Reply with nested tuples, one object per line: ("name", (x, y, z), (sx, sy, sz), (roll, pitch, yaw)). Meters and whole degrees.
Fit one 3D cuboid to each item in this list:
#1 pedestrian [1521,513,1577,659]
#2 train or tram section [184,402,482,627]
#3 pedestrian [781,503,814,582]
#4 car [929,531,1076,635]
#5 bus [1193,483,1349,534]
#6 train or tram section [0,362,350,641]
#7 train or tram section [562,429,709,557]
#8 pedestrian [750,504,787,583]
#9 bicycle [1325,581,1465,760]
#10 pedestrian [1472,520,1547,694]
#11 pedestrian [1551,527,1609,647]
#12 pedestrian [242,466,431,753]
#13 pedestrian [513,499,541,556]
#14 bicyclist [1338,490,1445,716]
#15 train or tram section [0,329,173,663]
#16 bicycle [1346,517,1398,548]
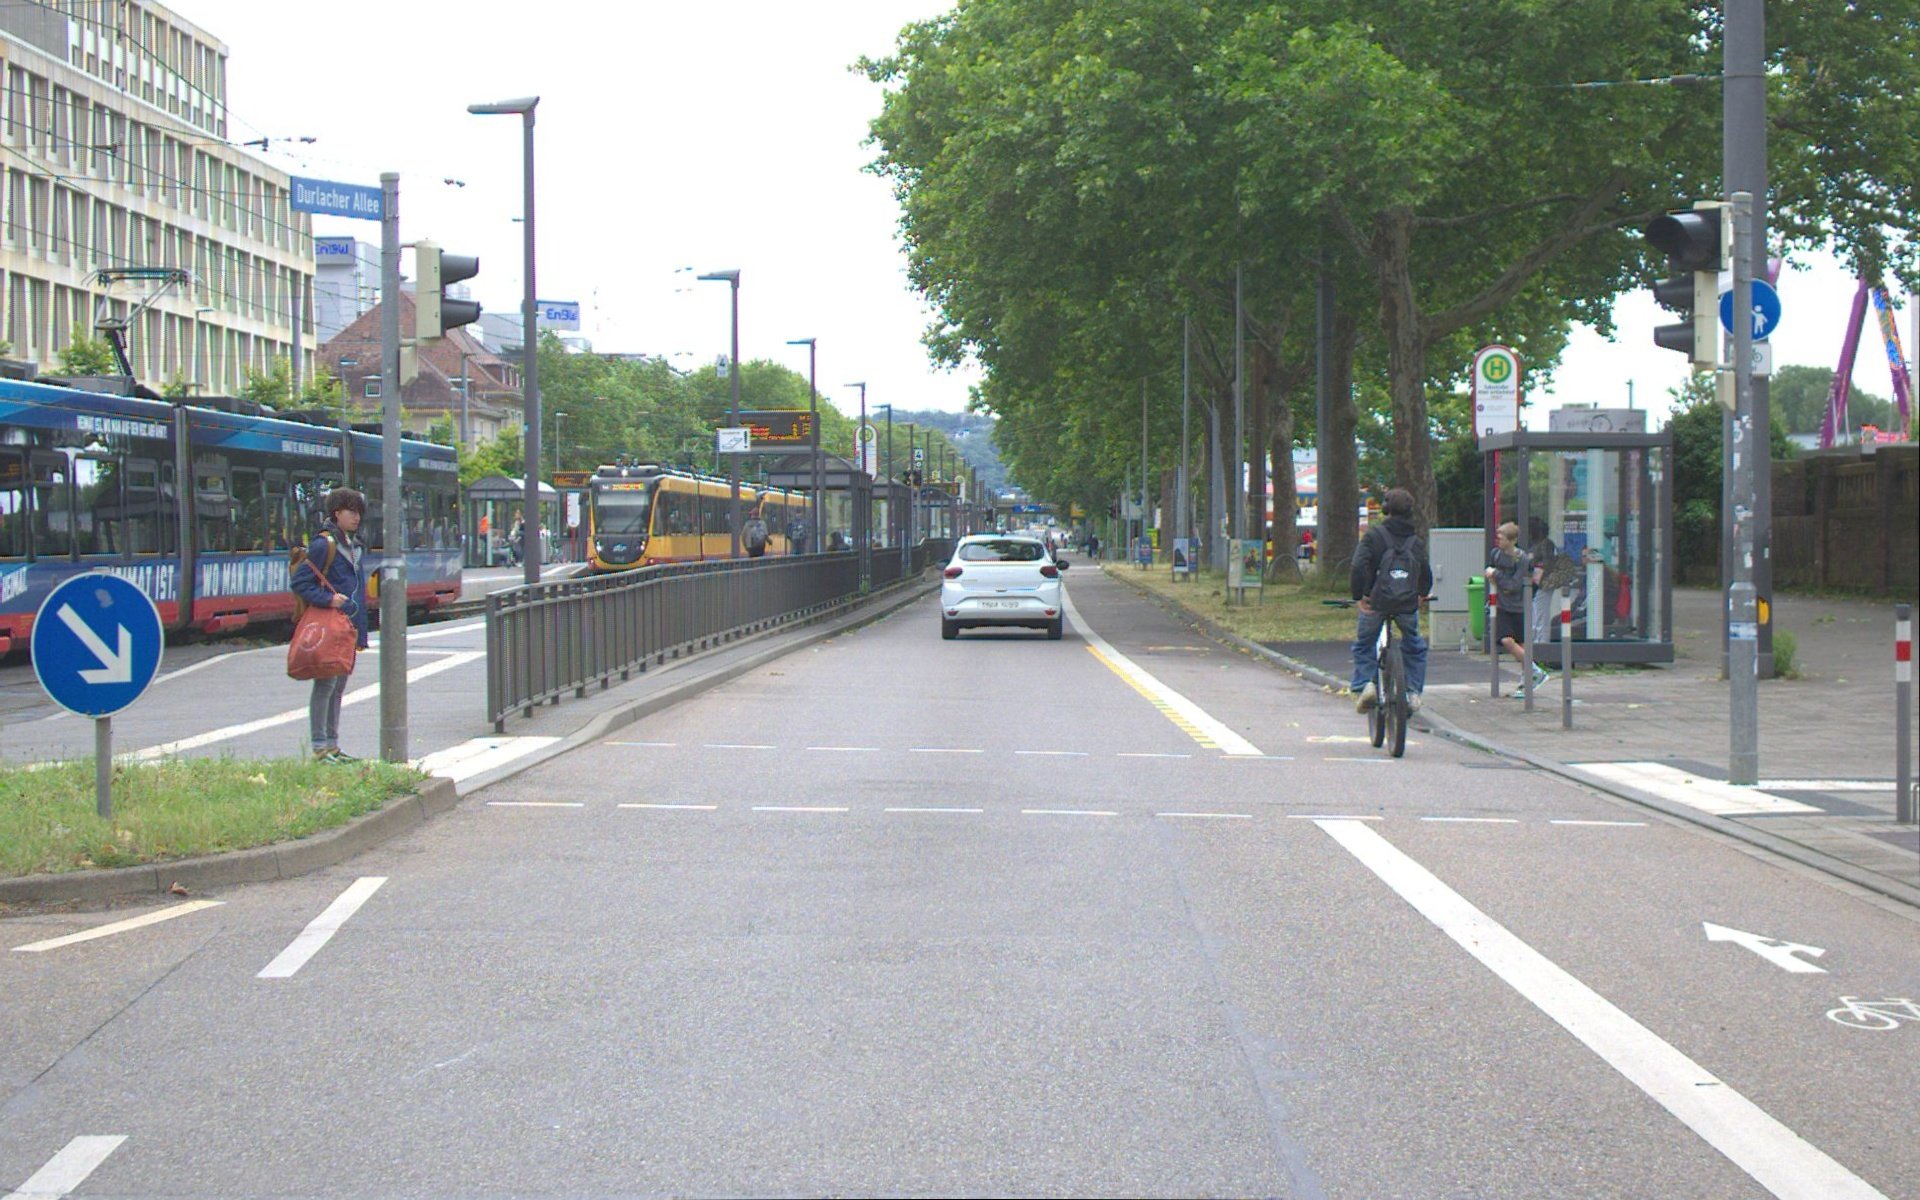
("pedestrian", (6.333, -0.153, 36.971), (0.476, 1.558, 0.702), (-1, 1, 1))
("train or tram section", (-11.294, -1.488, 63.522), (2.854, 3.679, 13.521), (-1, 1, 1))
("pedestrian", (-3.730, -1.320, 78.921), (0.670, 1.787, 1.113), (-1, 1, -7))
("car", (0.667, -0.270, 50.431), (1.885, 1.448, 3.999), (-1, 1, 4))
("bus", (18.927, -5.566, 209.580), (9.277, 2.949, 2.000), (-1, 1, 0))
("train or tram section", (-11.578, -1.362, 50.894), (2.854, 3.628, 11.700), (-1, 1, 1))
("train or tram section", (-10.258, -3.305, 109.913), (3.237, 3.848, 11.311), (-1, 1, 2))
("pedestrian", (-4.354, -1.283, 78.150), (0.670, 1.787, 1.113), (-1, 1, -11))
("bicycle", (2.960, 0.456, 23.578), (0.652, 1.146, 2.283), (-1, 1, 0))
("pedestrian", (4.882, 0.059, 30.532), (0.552, 1.523, 0.638), (0, 1, 19))
("pedestrian", (6.443, -0.134, 35.724), (0.476, 1.230, 0.702), (-1, 1, 1))
("pedestrian", (-3.649, 0.048, 20.115), (0.858, 1.637, 0.653), (-1, 1, -40))
("pedestrian", (-13.711, -2.283, 108.790), (0.711, 1.789, 1.160), (-1, 1, 0))
("bicyclist", (2.970, 0.016, 23.713), (0.641, 1.525, 0.665), (-1, 1, 0))
("train or tram section", (-11.844, -1.139, 39.248), (2.854, 3.628, 11.766), (-1, 1, 1))
("bicycle", (15.743, -2.584, 131.417), (1.890, 1.101, 0.550), (-2, 1, 0))
